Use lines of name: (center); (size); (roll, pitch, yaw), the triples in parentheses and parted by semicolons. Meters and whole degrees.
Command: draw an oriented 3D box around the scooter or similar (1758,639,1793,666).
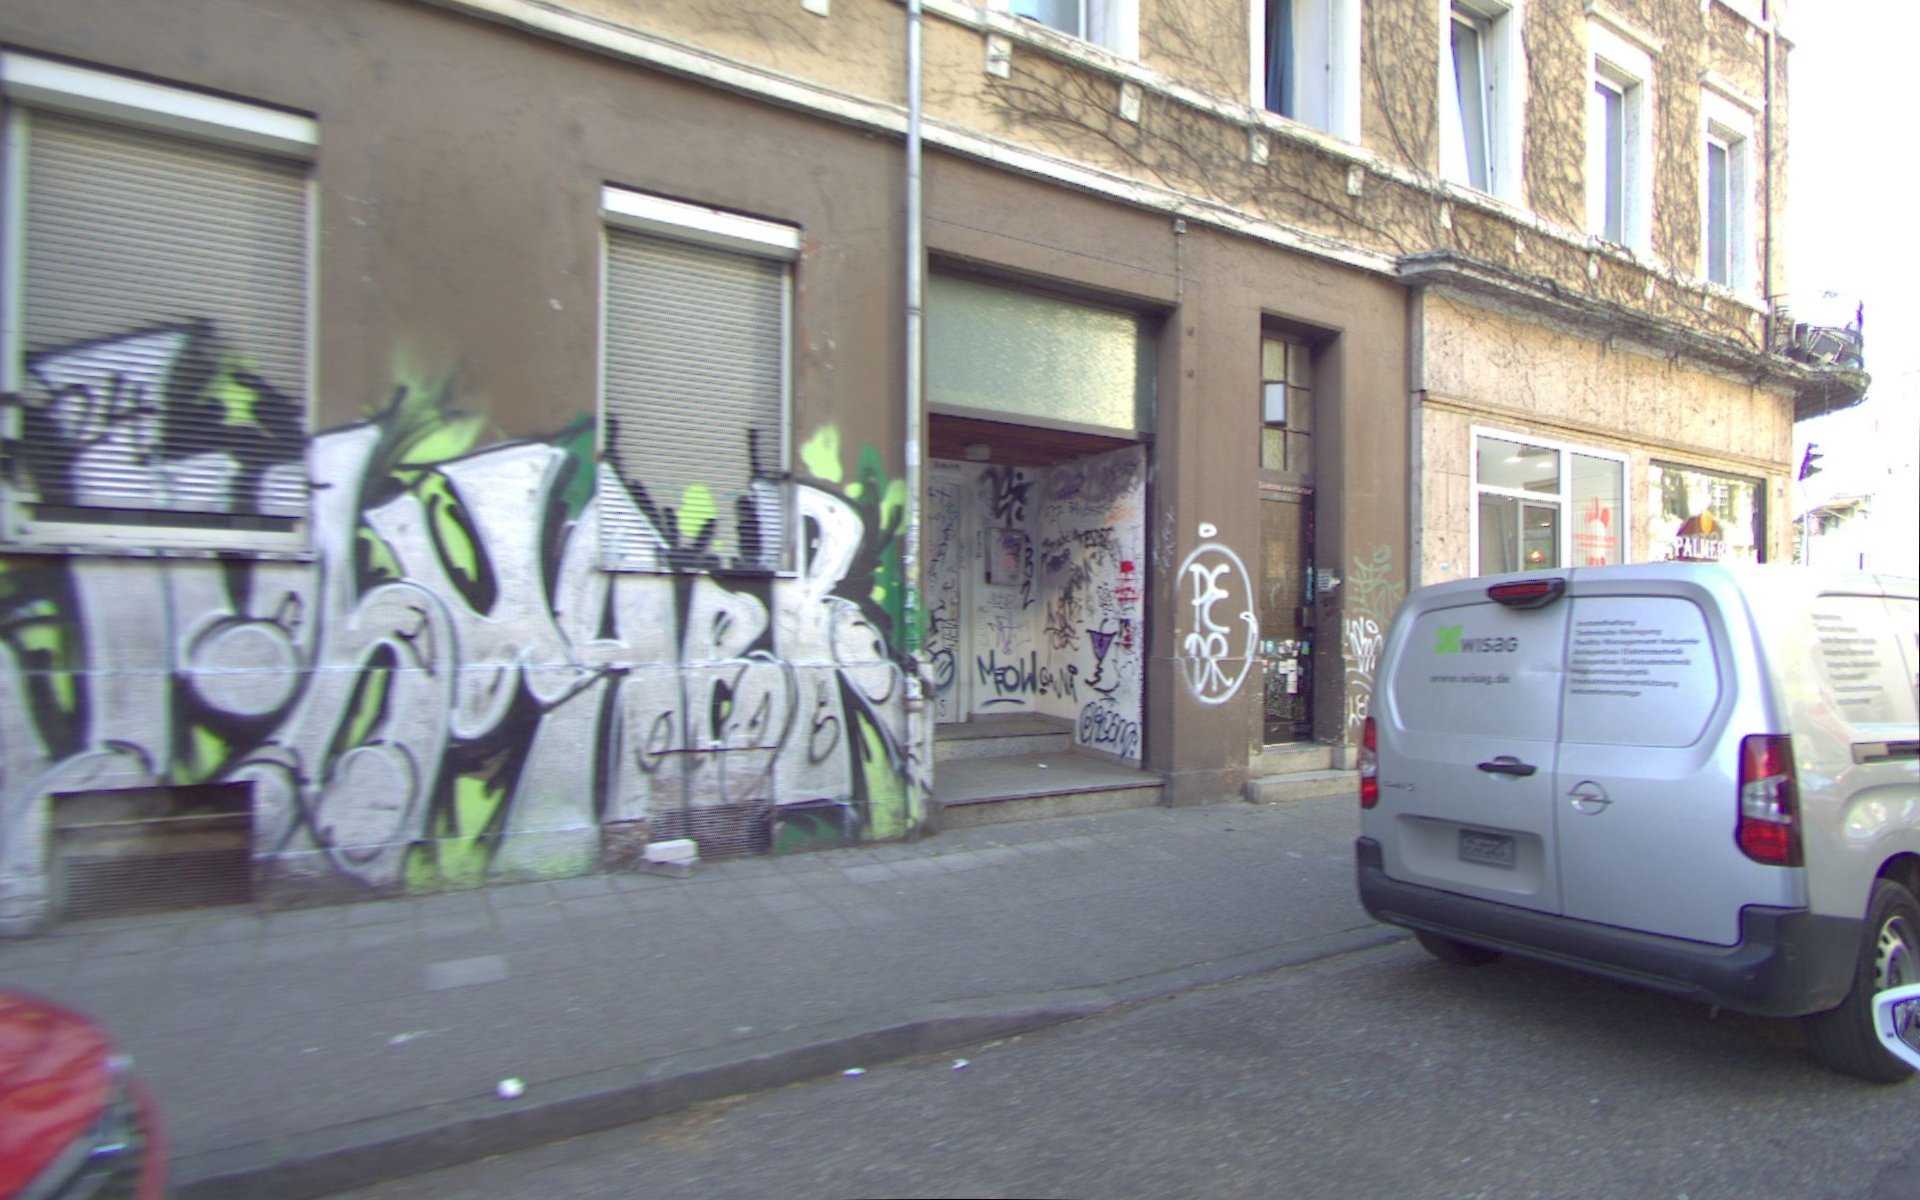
scooter or similar: (32.703, 2.110, 40.280); (1.464, 1.033, 0.384); (0, -1, -19)

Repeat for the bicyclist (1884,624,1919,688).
bicyclist: (25.115, 1.474, 26.399); (0.887, 1.661, 1.089); (3, -2, -36)

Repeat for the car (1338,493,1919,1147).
car: (4.052, 0.744, 4.869); (4.466, 1.934, 1.672); (1, -5, -30)

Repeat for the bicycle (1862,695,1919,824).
bicycle: (8.196, 1.292, 7.764); (0.458, 1.002, 1.756); (1, -2, -30)

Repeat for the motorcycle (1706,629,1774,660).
motorcycle: (32.470, 1.841, 41.845); (2.167, 1.274, 0.543); (-1, -1, 16)

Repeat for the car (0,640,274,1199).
car: (-3.101, 0.800, 0.747); (4.156, 1.492, 1.671); (1, -4, -32)

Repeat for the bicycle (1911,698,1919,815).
bicycle: (8.663, 1.304, 7.840); (0.401, 0.974, 1.756); (1, -2, -31)

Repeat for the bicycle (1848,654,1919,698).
bicycle: (25.071, 1.999, 26.437); (0.887, 1.107, 2.405); (3, -3, -36)
